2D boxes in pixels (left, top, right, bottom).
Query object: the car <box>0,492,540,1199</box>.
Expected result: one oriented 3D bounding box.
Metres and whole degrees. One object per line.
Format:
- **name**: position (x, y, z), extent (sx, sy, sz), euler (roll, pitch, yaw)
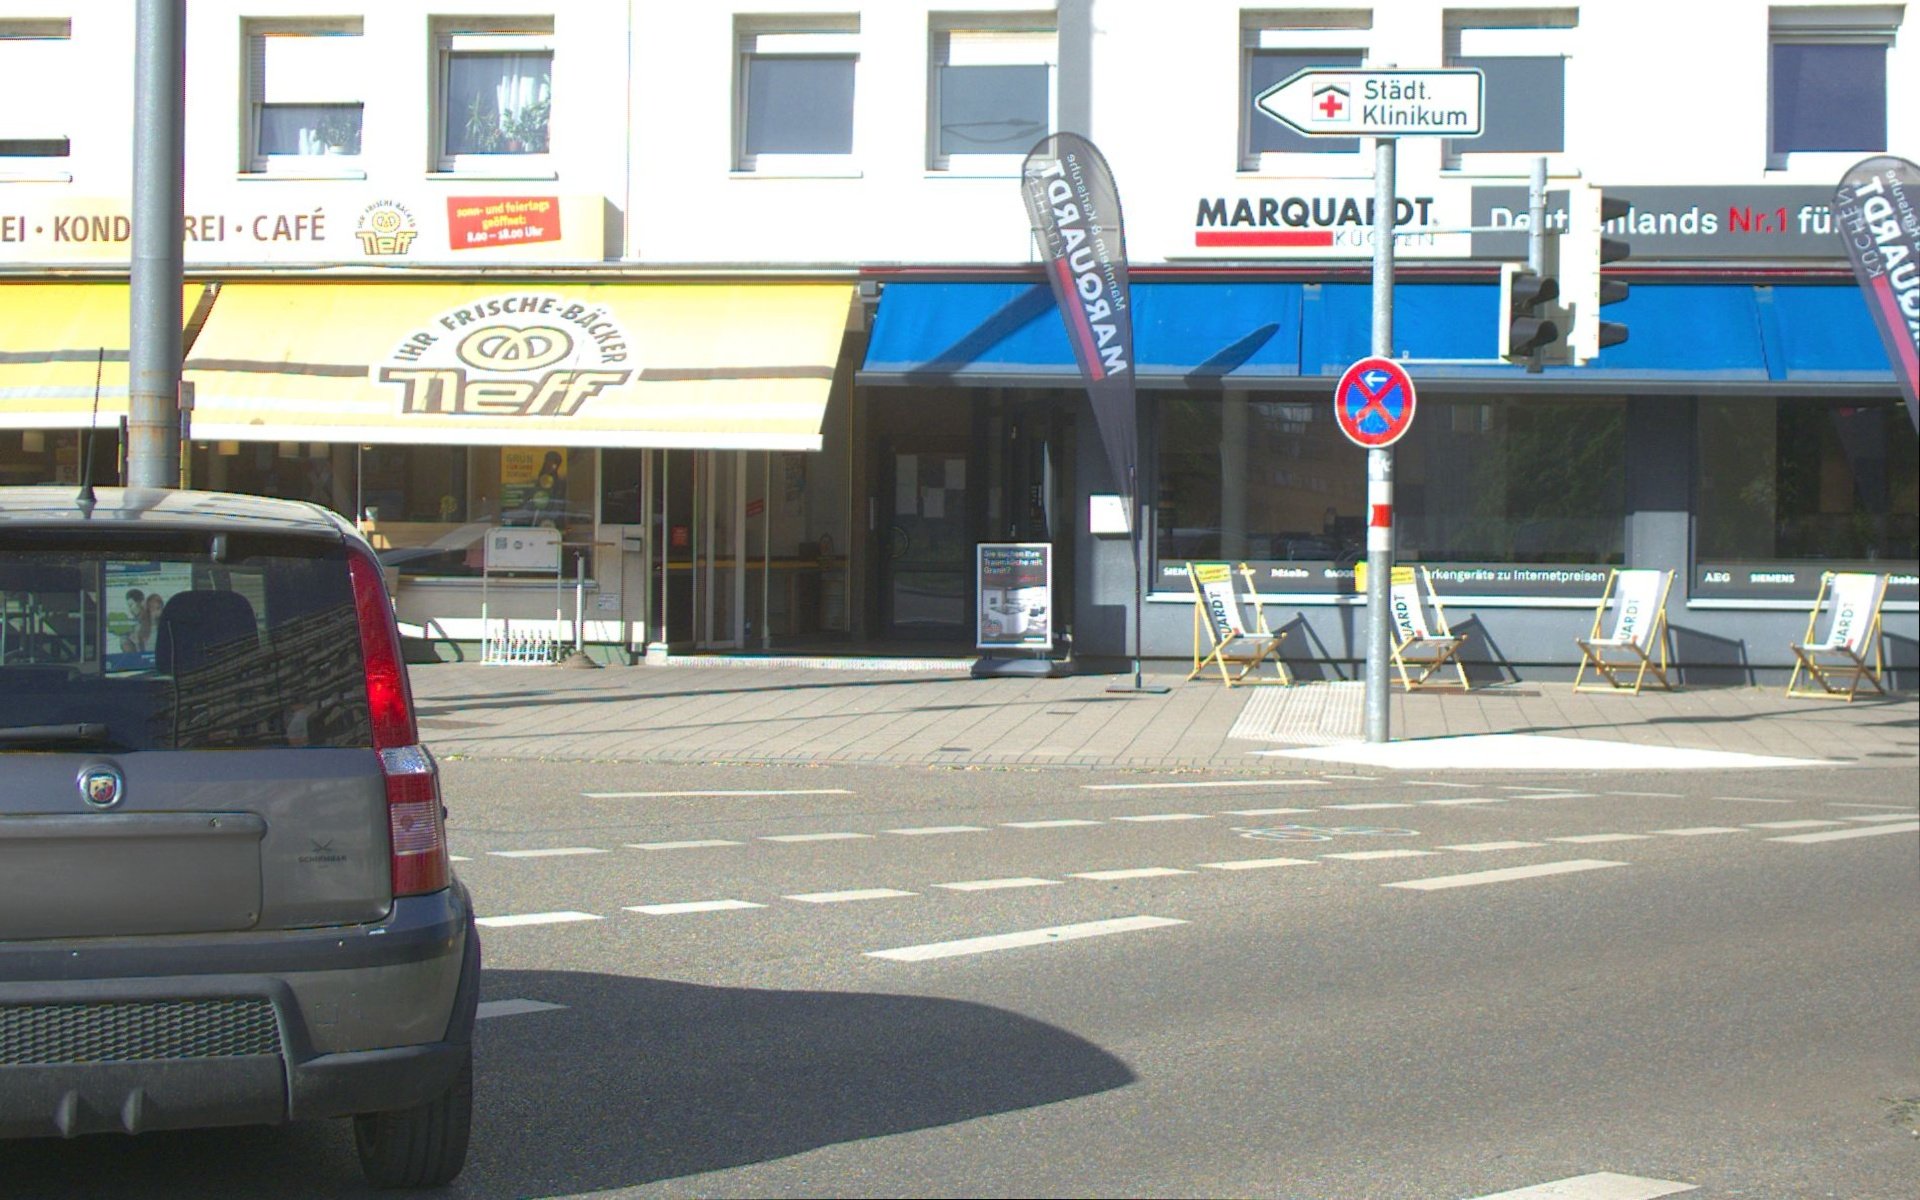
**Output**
- **car**: position (-2.160, 0.499, 8.231), extent (1.659, 1.505, 3.252), euler (0, 2, -19)
